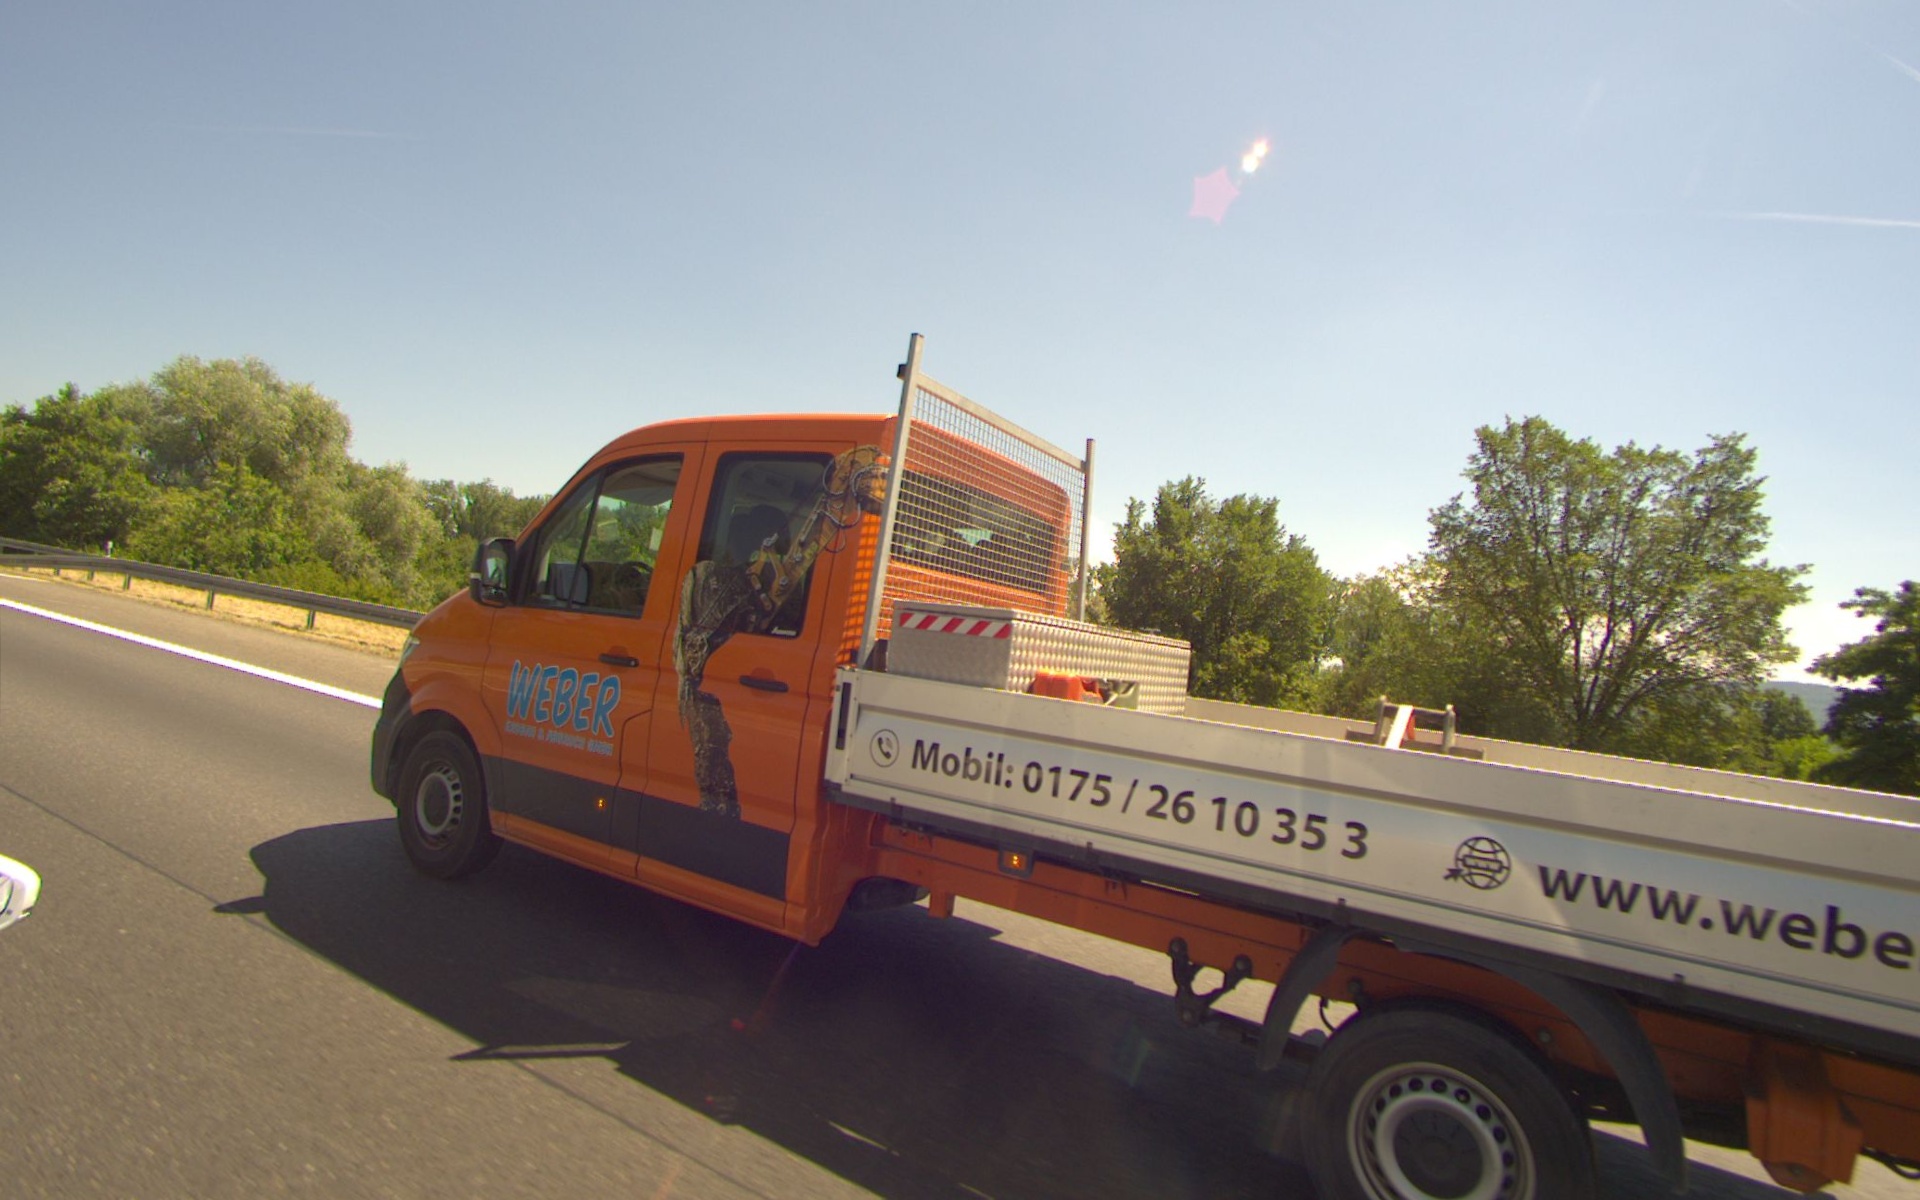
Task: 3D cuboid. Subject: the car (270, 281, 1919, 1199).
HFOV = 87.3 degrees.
[{"bbox_3d":[-0.089,0.371,4.492,7.106,2.432,1.998,6,-2,32],"label":"car"}]
